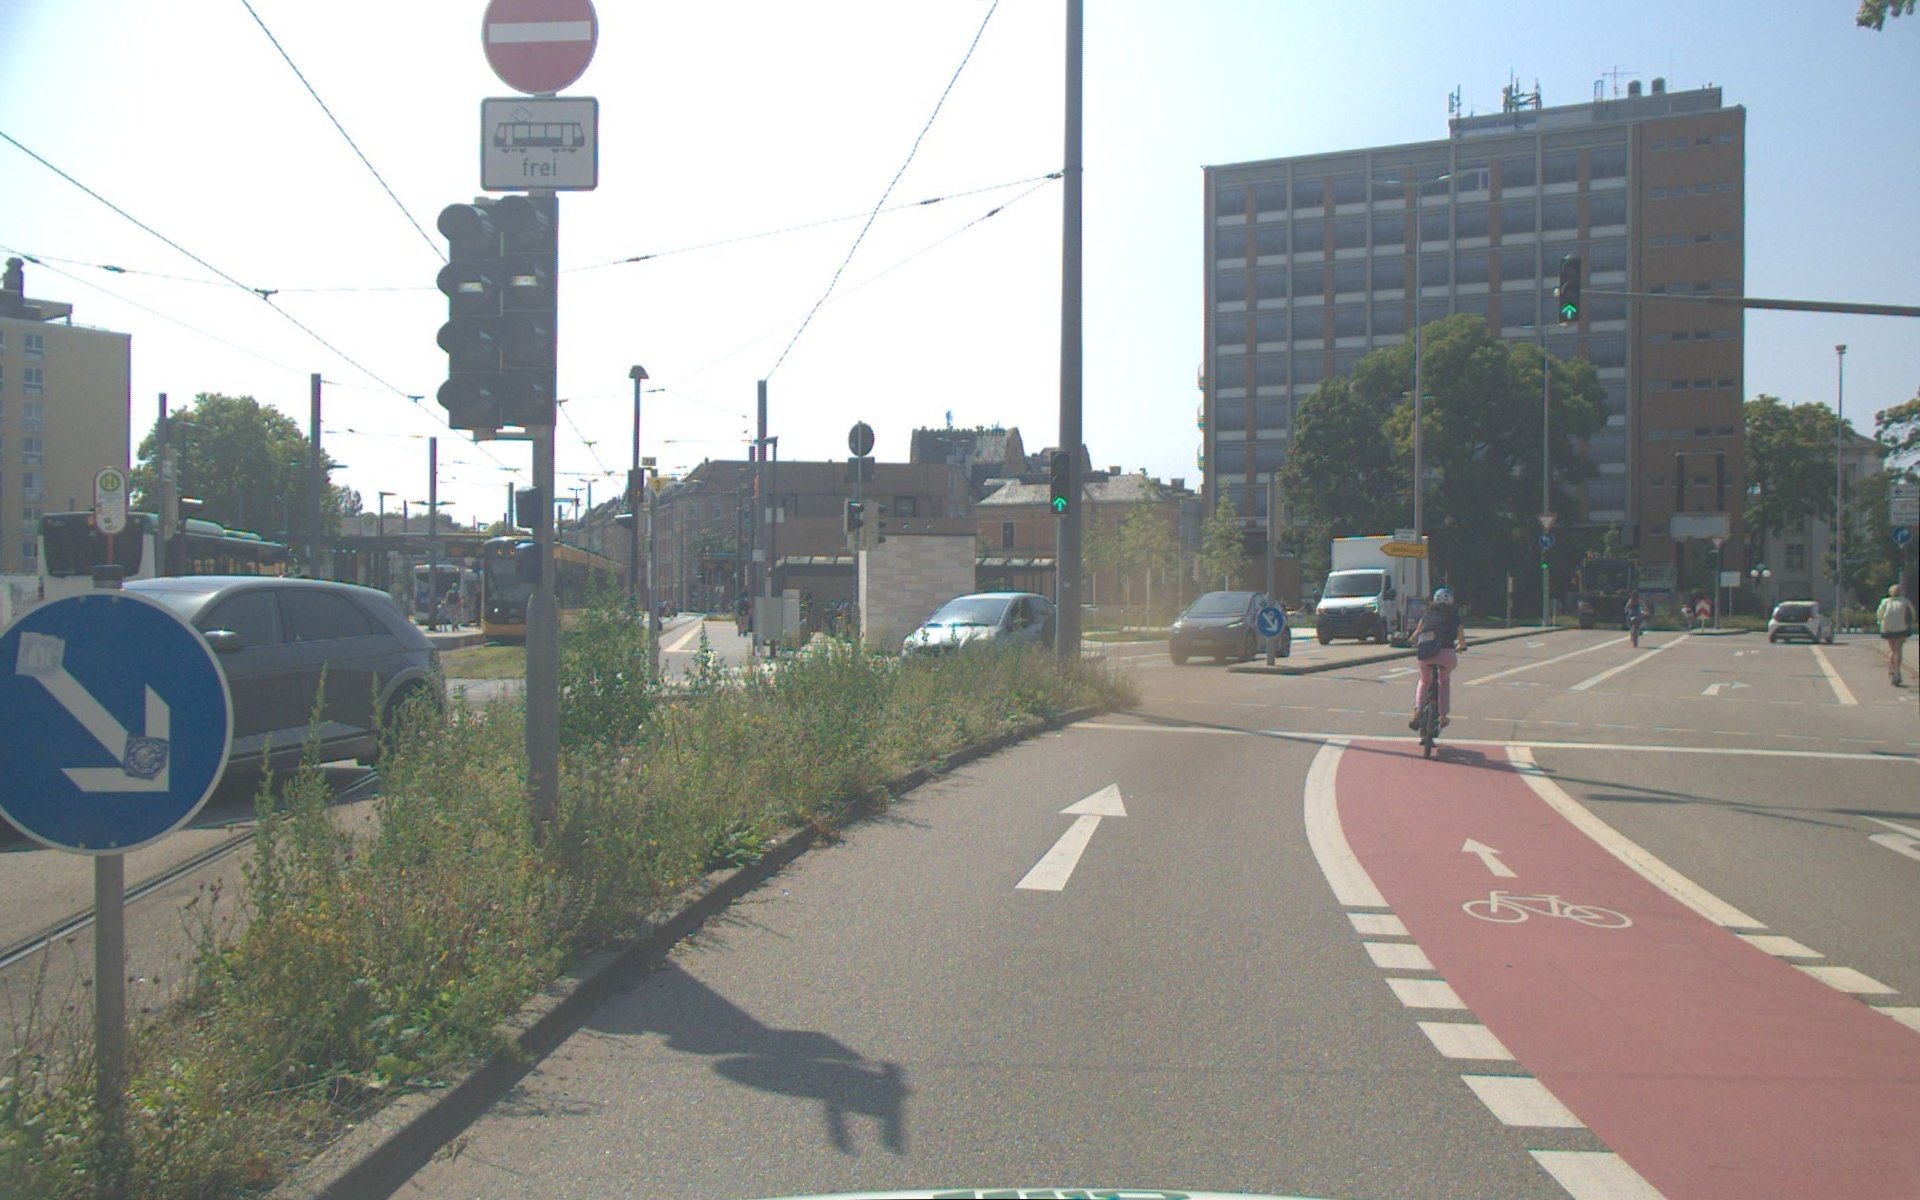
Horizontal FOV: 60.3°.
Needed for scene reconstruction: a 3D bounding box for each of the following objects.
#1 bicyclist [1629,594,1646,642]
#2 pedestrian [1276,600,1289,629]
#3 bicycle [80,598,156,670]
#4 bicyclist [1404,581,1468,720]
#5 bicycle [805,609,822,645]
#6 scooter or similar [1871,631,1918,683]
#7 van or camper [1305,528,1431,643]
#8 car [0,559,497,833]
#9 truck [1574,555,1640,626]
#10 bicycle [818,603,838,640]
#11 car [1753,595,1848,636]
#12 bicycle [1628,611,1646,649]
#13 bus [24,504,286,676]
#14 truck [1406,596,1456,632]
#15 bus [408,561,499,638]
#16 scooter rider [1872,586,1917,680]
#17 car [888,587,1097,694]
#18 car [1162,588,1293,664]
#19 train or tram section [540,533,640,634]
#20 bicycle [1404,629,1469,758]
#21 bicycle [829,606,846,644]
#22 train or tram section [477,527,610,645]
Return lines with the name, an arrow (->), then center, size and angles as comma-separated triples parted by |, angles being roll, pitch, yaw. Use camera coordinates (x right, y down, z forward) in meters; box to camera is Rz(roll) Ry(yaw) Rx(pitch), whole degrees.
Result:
bicyclist -> 20.635, 0.535, 50.388 | 0.441, 1.446, 0.495 | -1, 0, 25
pedestrian -> 17.430, 0.796, 89.420 | 0.521, 1.579, 0.414 | 0, 0, -19
bicycle -> -15.116, 0.594, 29.733 | 0.595, 1.244, 1.704 | 0, 0, -4
bicyclist -> 4.763, 0.498, 16.578 | 0.590, 1.358, 0.660 | 0, 0, 13
bicycle -> -4.395, 0.802, 49.664 | 0.455, 1.051, 1.546 | 1, 0, -6
scooter or similar -> 18.142, 1.099, 32.089 | 0.758, 0.943, 1.617 | 1, 0, 31
van or camper -> 12.996, -0.429, 52.283 | 2.353, 3.364, 7.182 | 0, 0, 27
car -> -5.577, 0.578, 12.410 | 1.735, 1.639, 4.675 | 0, 0, 18
truck -> 28.876, -0.380, 73.851 | 2.641, 3.042, 5.966 | 1, 0, 21
bicycle -> -4.672, 0.735, 58.487 | 0.594, 1.275, 2.618 | 0, 0, -7
car -> 29.979, 0.546, 58.925 | 3.968, 1.416, 1.819 | 0, 0, -44
bicycle -> 20.601, 0.893, 50.310 | 0.435, 1.136, 1.445 | -1, 0, 25
bus -> -20.194, -0.195, 42.377 | 2.903, 3.841, 10.575 | 1, 0, -9
truck -> 20.389, 0.602, 71.537 | 1.524, 1.530, 3.618 | 0, 0, 25
bus -> -26.613, 0.015, 87.415 | 2.658, 3.792, 10.403 | 1, 0, -7
scooter rider -> 18.166, 0.625, 32.151 | 0.748, 1.806, 0.554 | 0, 0, 32
car -> 0.620, 0.595, 26.387 | 1.618, 1.557, 4.320 | 0, 0, 27
car -> 5.959, 0.540, 36.485 | 1.663, 1.557, 4.178 | 0, 0, 27
train or tram section -> -17.218, -0.653, 78.195 | 2.832, 4.139, 19.108 | 1, 0, -7
bicycle -> 4.770, 0.905, 16.627 | 0.591, 1.183, 1.812 | 0, 0, 15
bicycle -> -3.642, 0.728, 49.089 | 0.455, 1.120, 1.420 | 1, 0, -6
train or tram section -> -14.715, -0.401, 59.873 | 2.803, 3.610, 17.708 | 1, 0, -8
